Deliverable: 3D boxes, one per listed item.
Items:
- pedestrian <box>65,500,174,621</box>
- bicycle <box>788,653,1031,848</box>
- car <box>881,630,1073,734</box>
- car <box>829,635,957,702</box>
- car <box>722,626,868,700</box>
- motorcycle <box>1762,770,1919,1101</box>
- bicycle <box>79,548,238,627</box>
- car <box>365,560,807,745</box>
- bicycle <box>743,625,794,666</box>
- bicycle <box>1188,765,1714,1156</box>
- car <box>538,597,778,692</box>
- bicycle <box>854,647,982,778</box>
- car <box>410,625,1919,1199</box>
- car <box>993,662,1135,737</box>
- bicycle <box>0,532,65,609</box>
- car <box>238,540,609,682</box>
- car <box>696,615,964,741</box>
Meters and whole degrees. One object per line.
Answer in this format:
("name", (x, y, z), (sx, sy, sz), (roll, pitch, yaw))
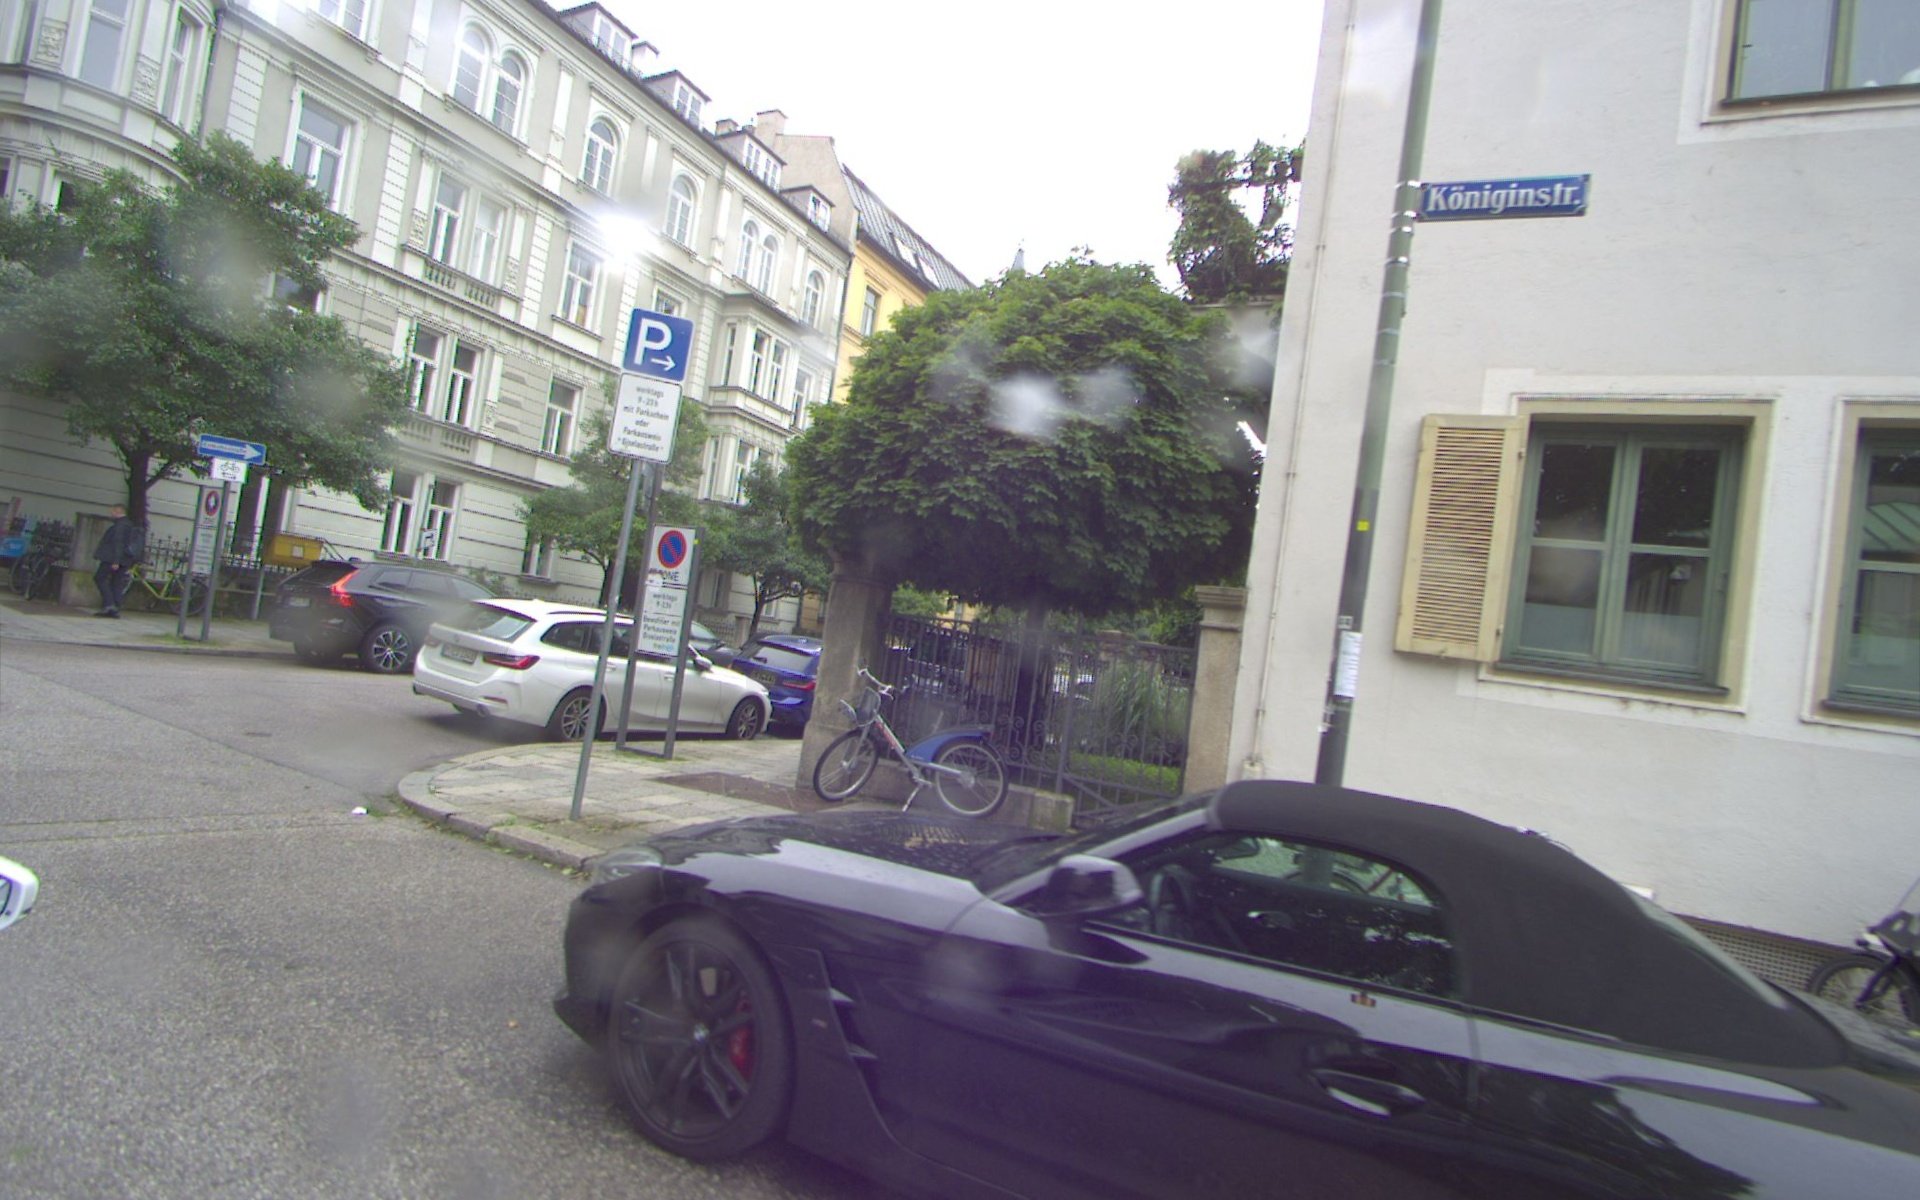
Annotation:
("pedestrian", (-13.119, -0.603, 15.743), (0.964, 1.709, 0.854), (8, -1, -27))
("bicycle", (-0.410, 1.161, 8.065), (1.744, 1.239, 0.544), (7, -2, 22))
("car", (0.522, 1.799, 21.345), (1.992, 1.709, 4.851), (7, -3, 27))
("car", (-1.852, 2.044, 29.378), (1.702, 1.556, 4.339), (3, -5, 26))
("car", (-4.041, 1.629, 25.251), (1.679, 1.533, 3.728), (5, -4, 25))
("motorcycle", (5.602, 1.774, 4.686), (2.658, 1.449, 0.860), (7, -2, 26))
("bicycle", (-13.526, -0.181, 17.039), (0.548, 1.039, 1.927), (8, -2, 32))
("car", (-4.172, 0.750, 12.254), (1.879, 1.548, 4.923), (10, -2, 27))
("bicycle", (-6.096, 1.473, 32.128), (0.366, 1.114, 1.832), (8, -2, 31))
("bicycle", (2.120, 1.463, 4.531), (1.908, 1.075, 0.664), (7, -2, 35))
("car", (-6.094, 1.025, 21.104), (1.778, 1.521, 5.181), (5, -4, 24))
("bicycle", (-0.420, 1.281, 11.333), (0.459, 1.289, 1.921), (8, -3, 24))
("car", (0.726, 1.062, 3.133), (4.514, 1.335, 2.005), (7, -1, 27))
("car", (2.850, 2.669, 26.390), (1.894, 1.449, 4.802), (10, -2, 28))
("bicycle", (-15.327, -0.498, 16.423), (1.859, 1.039, 0.431), (8, -1, 31))
("car", (-8.405, 0.309, 16.394), (1.910, 1.669, 5.057), (3, -5, 26))
("car", (-1.935, 1.404, 16.804), (1.901, 1.522, 4.878), (9, -3, 26))
